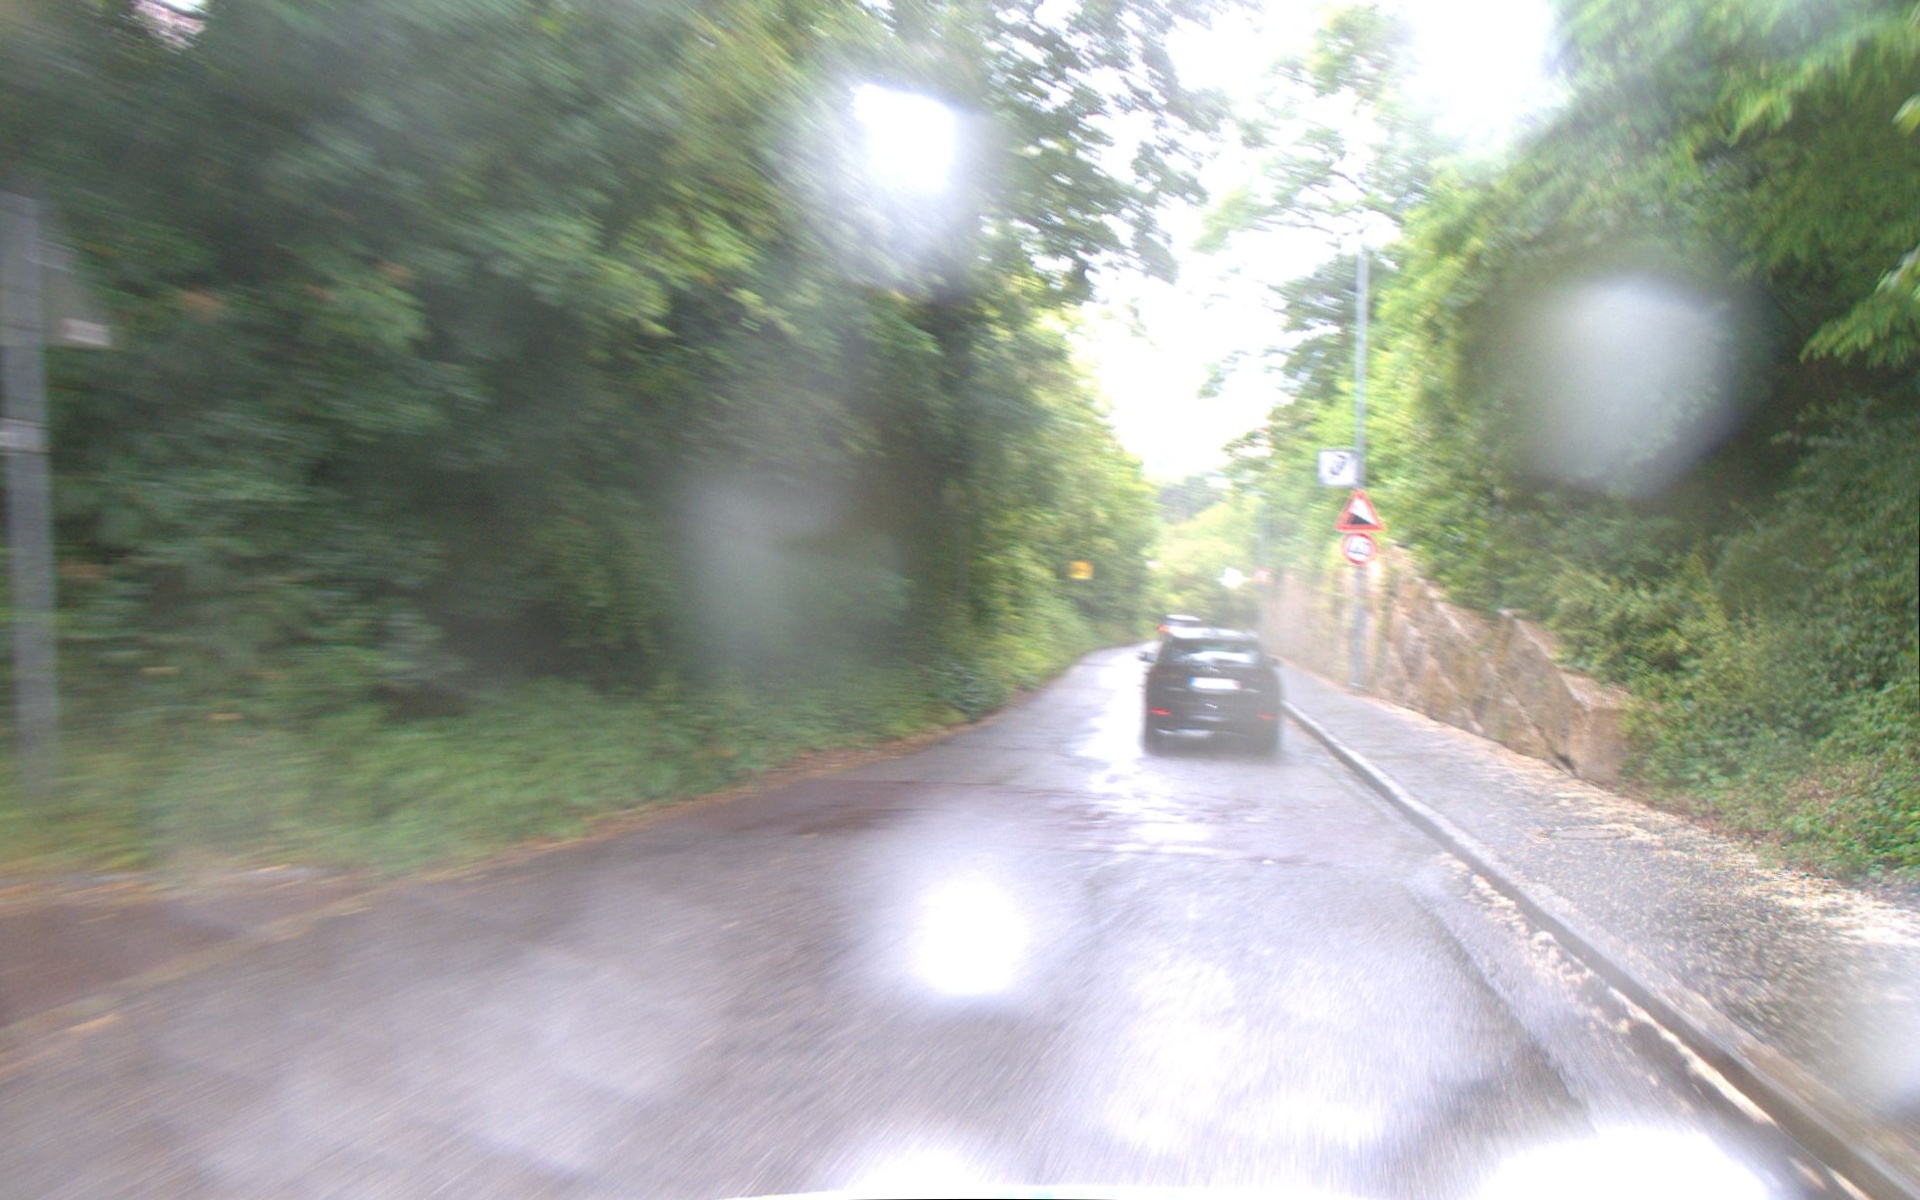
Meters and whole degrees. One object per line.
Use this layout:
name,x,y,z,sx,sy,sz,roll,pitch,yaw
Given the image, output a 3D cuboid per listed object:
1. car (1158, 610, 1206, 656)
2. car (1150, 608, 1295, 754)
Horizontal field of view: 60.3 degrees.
car,9.181,1.349,68.476,1.823,1.773,4.003,3,0,8
car,3.316,0.961,21.451,1.663,1.475,4.004,1,3,6
